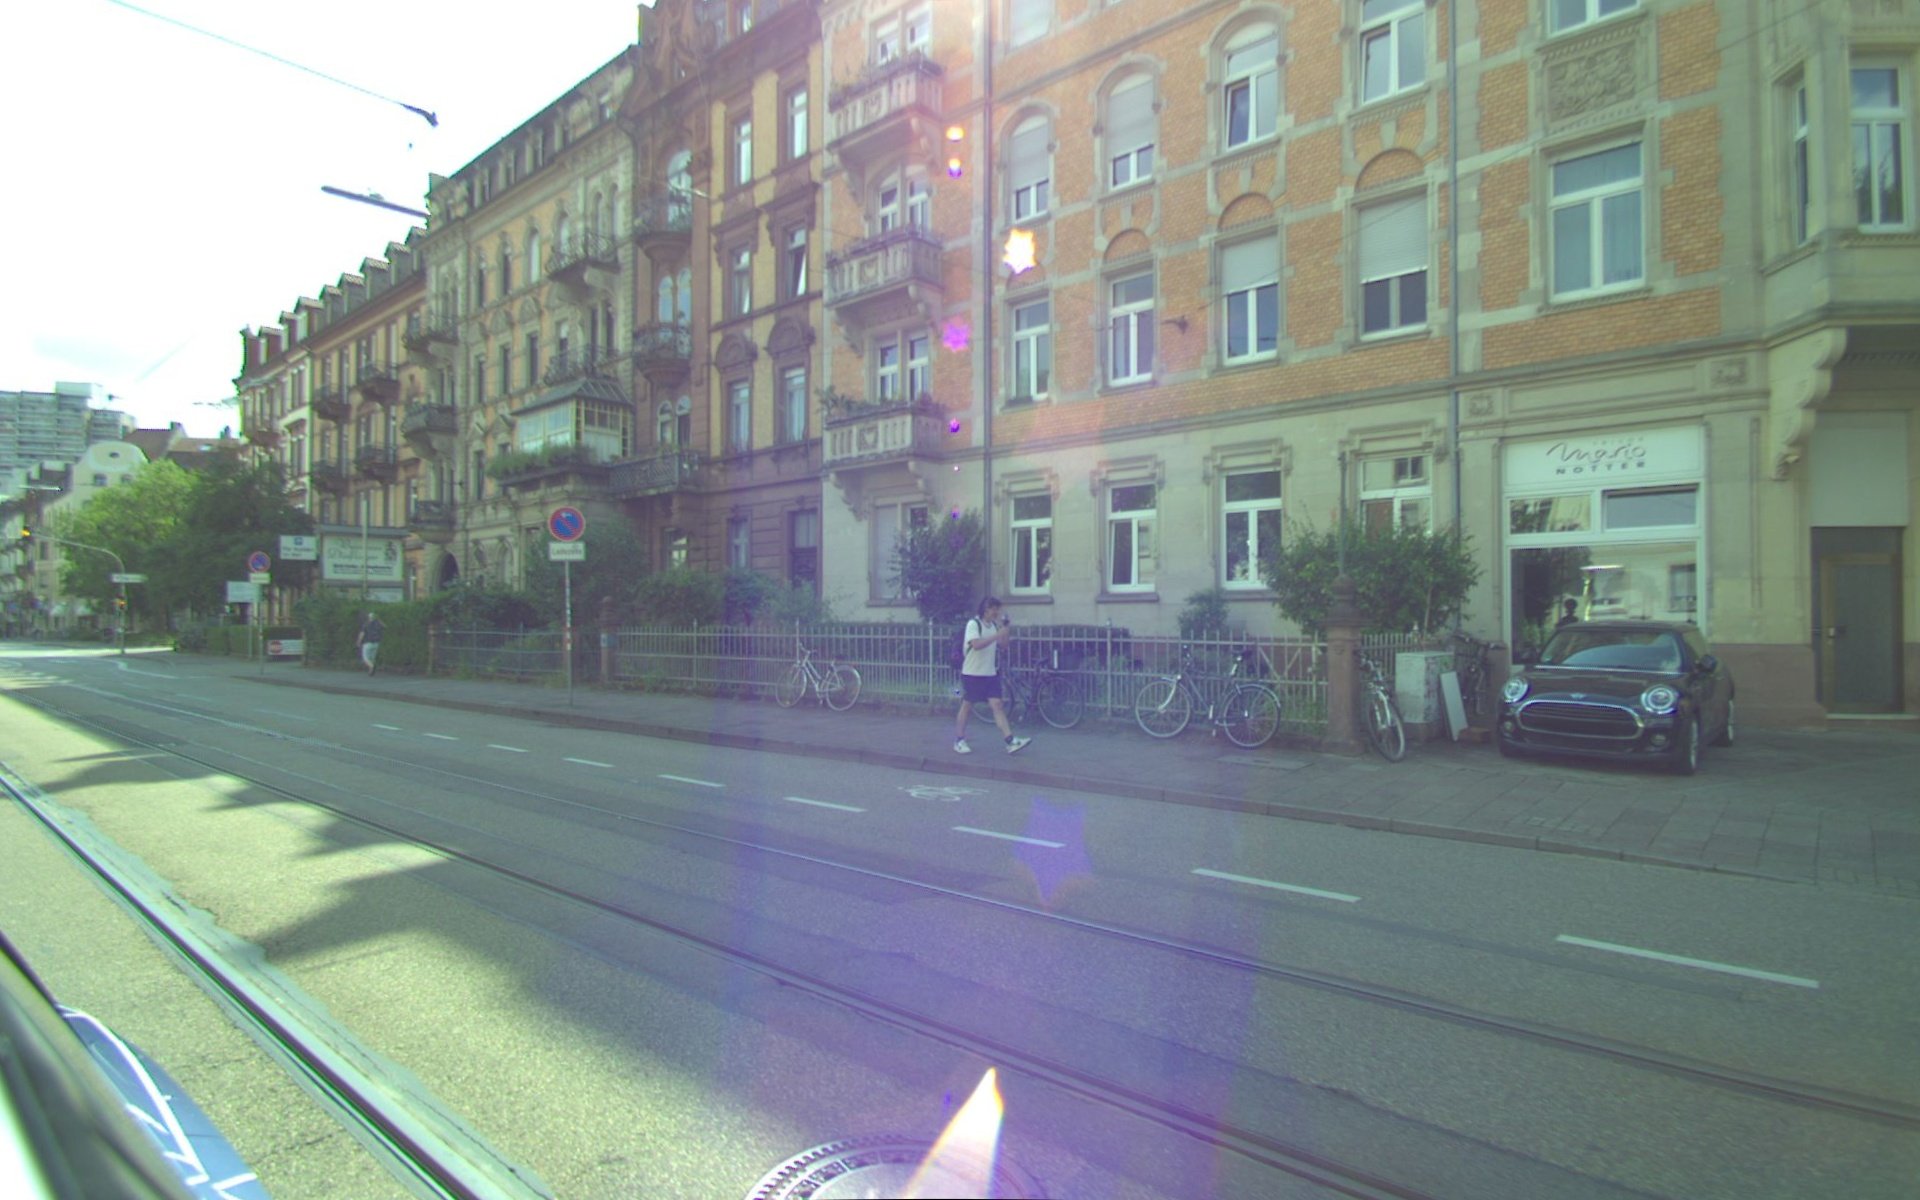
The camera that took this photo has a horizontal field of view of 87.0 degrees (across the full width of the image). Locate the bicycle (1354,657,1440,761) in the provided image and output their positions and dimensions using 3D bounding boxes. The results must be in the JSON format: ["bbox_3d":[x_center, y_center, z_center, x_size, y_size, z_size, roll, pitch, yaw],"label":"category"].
[{"bbox_3d":[4.570,1.099,10.541,0.404,0.984,1.437,-2,-2,41],"label":"bicycle"}]

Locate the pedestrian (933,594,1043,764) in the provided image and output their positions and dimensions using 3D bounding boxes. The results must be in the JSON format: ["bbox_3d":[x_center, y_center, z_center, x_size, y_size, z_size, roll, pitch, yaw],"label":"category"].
[{"bbox_3d":[0.300,0.839,11.193,1.105,1.773,0.527,-1,0,41],"label":"pedestrian"}]

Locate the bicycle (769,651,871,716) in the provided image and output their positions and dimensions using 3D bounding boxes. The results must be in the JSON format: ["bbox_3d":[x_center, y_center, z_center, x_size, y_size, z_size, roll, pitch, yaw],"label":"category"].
[{"bbox_3d":[-2.240,1.302,16.033,1.948,0.940,0.417,-1,-2,41],"label":"bicycle"}]

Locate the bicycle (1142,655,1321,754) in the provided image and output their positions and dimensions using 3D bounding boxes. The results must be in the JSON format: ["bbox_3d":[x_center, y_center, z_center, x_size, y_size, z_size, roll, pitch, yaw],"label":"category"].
[{"bbox_3d":[2.993,1.129,11.338,1.948,0.984,0.417,-1,-2,41],"label":"bicycle"}]

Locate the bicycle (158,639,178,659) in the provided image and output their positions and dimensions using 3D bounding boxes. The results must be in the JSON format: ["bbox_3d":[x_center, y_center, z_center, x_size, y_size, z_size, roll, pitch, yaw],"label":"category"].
[{"bbox_3d":[-39.301,2.421,50.214,1.826,0.939,0.553,-1,-2,44],"label":"bicycle"}]

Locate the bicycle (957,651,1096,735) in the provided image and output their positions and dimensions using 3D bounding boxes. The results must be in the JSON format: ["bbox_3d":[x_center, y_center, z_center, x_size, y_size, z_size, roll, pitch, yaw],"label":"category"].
[{"bbox_3d":[0.826,1.173,13.136,1.948,0.984,0.417,-1,-2,41],"label":"bicycle"}]

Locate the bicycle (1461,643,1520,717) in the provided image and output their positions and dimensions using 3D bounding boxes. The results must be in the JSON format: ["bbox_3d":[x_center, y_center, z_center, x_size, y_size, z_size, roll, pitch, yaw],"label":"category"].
[{"bbox_3d":[7.469,1.098,14.226,0.404,0.984,1.437,-2,-2,41],"label":"bicycle"}]

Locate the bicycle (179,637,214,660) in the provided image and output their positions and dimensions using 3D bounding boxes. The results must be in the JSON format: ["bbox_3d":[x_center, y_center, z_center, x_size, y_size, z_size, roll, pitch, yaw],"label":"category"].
[{"bbox_3d":[-37.653,2.381,49.888,0.496,1.140,1.291,-1,-2,40],"label":"bicycle"}]

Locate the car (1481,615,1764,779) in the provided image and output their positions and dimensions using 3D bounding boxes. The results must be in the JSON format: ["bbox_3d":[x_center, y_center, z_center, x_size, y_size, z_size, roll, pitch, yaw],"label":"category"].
[{"bbox_3d":[7.101,0.884,10.725,3.562,1.413,1.788,0,-2,-45],"label":"car"}]

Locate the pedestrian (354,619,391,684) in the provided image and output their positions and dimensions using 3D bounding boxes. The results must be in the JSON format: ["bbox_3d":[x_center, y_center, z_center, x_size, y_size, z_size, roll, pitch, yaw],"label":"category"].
[{"bbox_3d":[-15.768,1.361,27.159,1.150,1.716,0.483,-1,-2,39],"label":"pedestrian"}]
